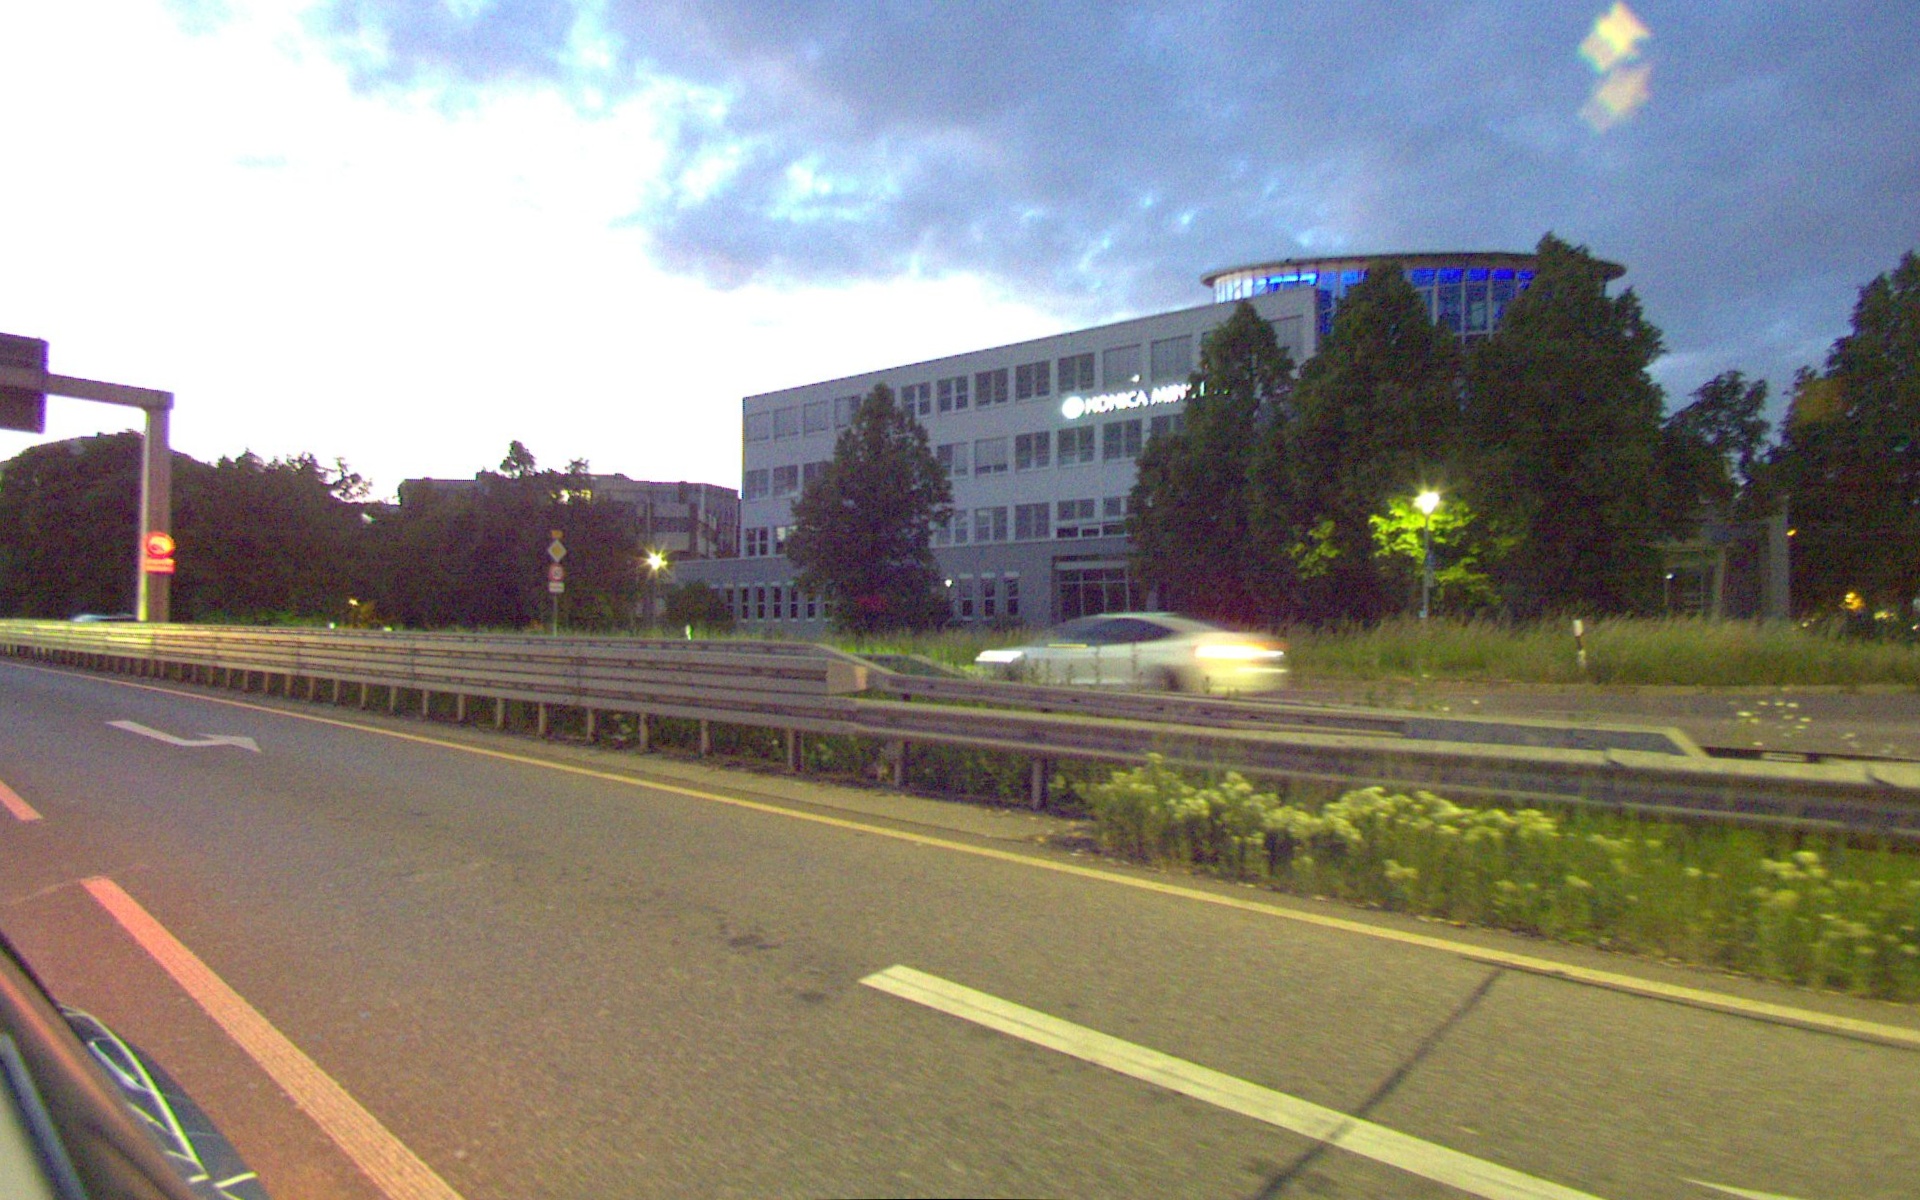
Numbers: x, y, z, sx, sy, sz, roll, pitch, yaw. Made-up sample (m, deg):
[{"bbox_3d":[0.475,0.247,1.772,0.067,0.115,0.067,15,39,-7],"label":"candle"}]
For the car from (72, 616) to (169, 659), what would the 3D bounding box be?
[{"bbox_3d":[-31.056,1.373,37.394,4.678,1.493,1.973,-2,-1,40],"label":"car"}]

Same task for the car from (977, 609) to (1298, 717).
[{"bbox_3d":[2.645,0.895,15.700,4.527,1.436,1.974,-2,-1,39],"label":"car"}]
